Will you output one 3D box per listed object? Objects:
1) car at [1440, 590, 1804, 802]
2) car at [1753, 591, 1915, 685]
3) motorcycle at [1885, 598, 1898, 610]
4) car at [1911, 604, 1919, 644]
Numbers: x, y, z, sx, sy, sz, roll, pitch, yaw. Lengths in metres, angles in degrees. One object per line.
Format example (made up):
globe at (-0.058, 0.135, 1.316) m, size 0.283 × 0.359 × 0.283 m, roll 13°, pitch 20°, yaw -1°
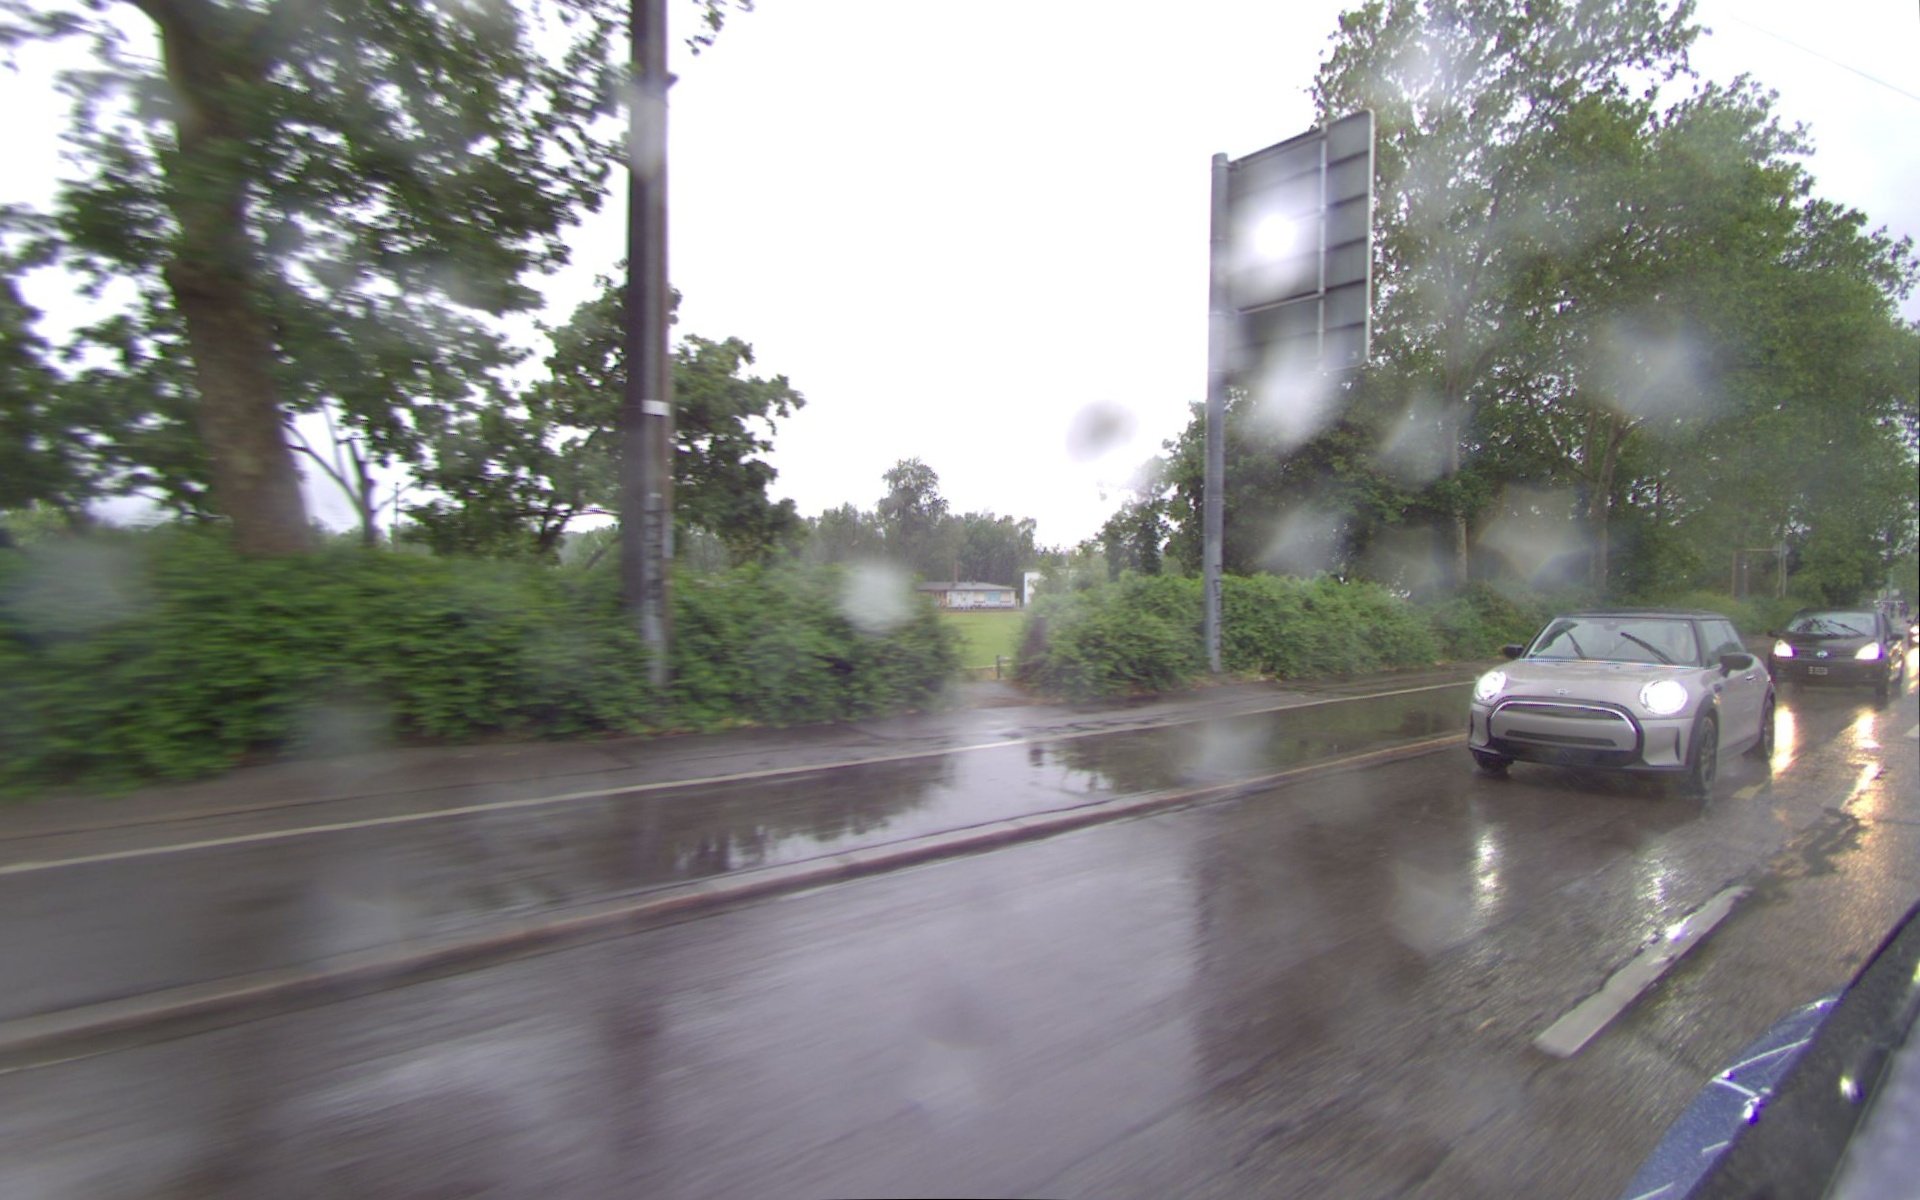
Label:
car at (6.004, 0.653, 9.024) m, size 3.788 × 1.431 × 1.794 m, roll -1°, pitch 2°, yaw -41°
car at (15.647, 0.632, 18.052) m, size 4.022 × 1.480 × 1.773 m, roll 1°, pitch -1°, yaw -43°
motorcycle at (105.140, 0.436, 114.199) m, size 1.418 × 1.233 × 0.635 m, roll 1°, pitch 2°, yaw -30°
car at (37.238, 0.919, 38.115) m, size 3.972 × 1.503 × 1.714 m, roll 1°, pitch -1°, yaw -42°
